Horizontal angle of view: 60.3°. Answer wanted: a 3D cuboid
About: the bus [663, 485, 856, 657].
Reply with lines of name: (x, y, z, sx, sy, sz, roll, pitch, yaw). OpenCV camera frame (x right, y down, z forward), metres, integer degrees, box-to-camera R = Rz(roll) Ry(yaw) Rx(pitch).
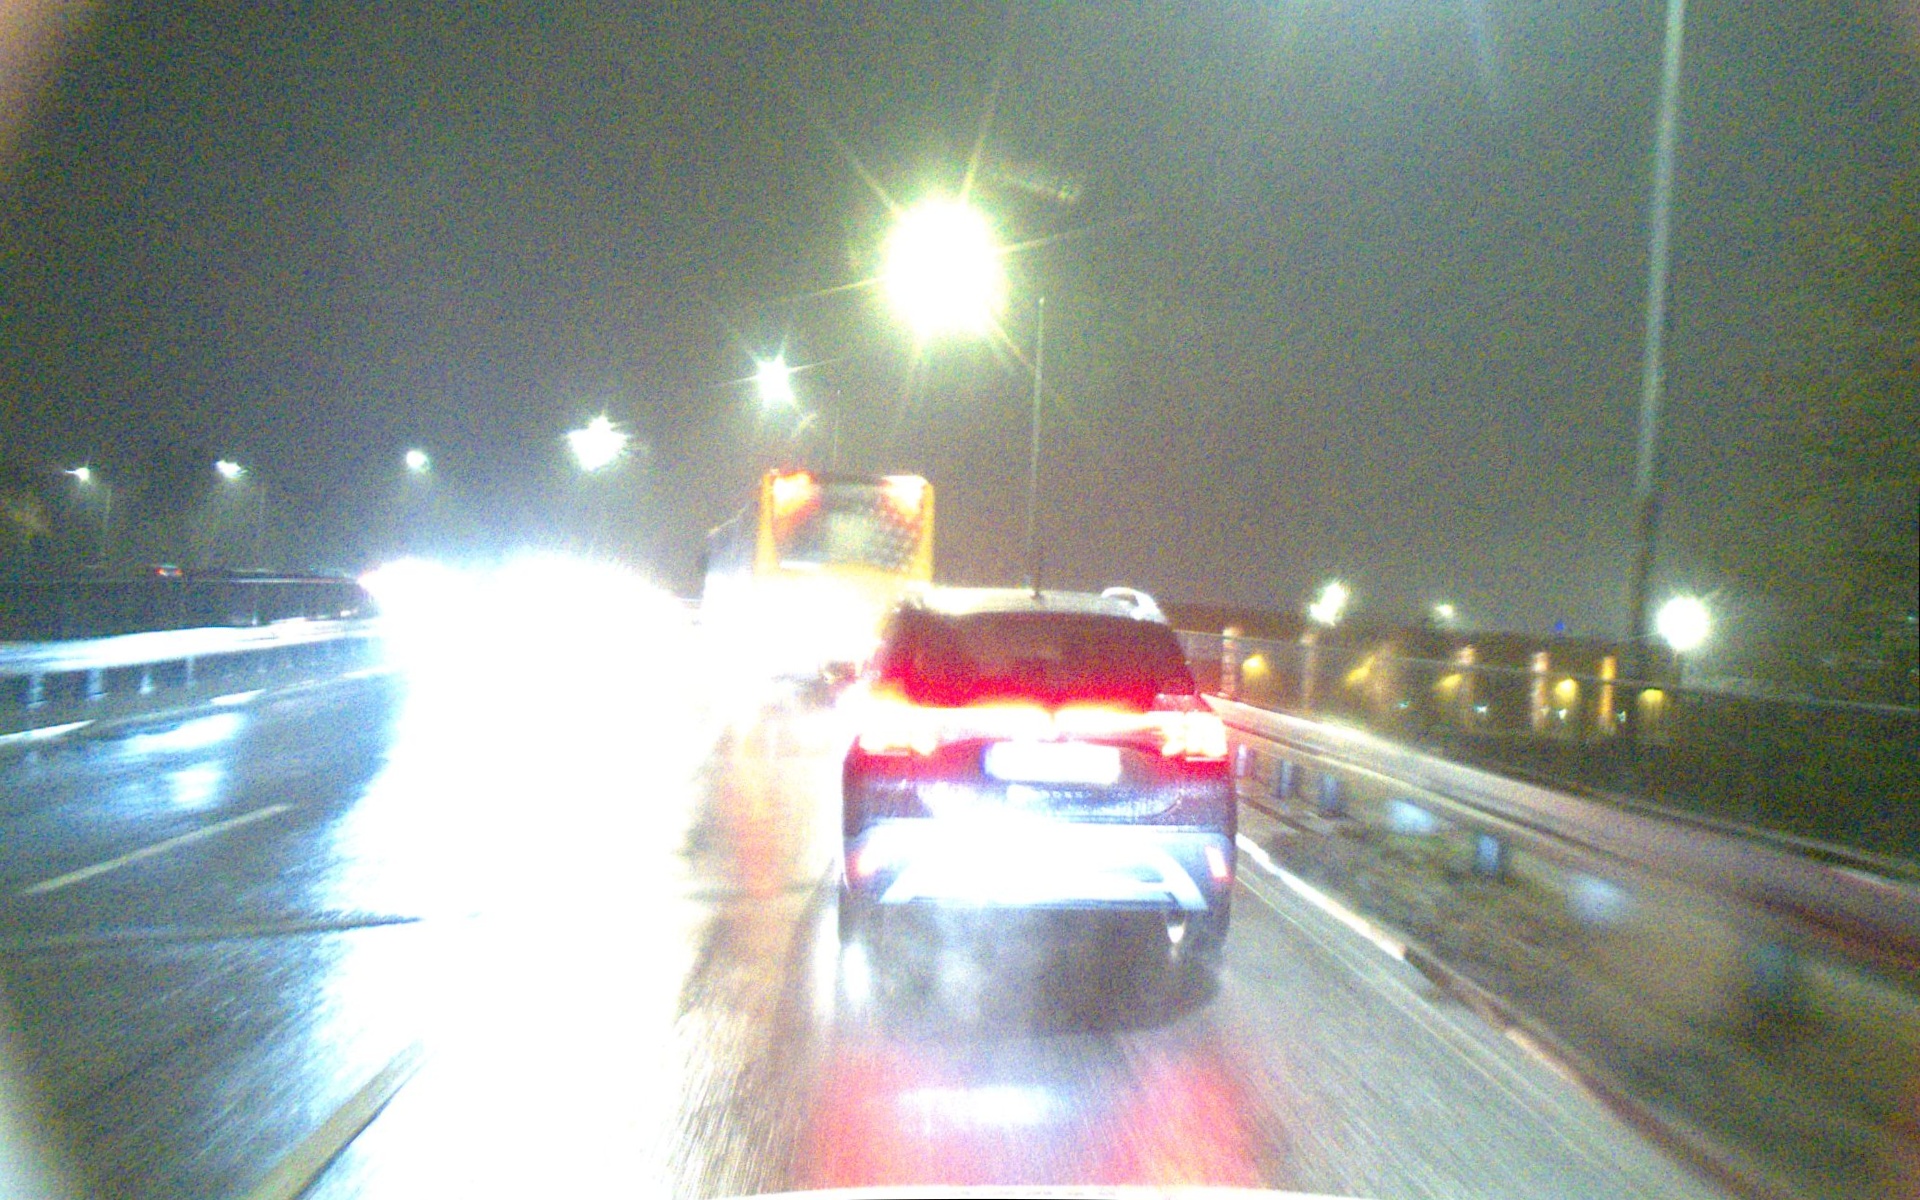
bus: (-4.881, -0.621, 38.598, 3.000, 3.184, 8.046, 8, -2, -15)

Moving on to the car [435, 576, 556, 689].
car: (-7.284, 0.466, 26.150, 1.444, 1.612, 3.184, 1, 1, -9)

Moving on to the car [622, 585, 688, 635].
car: (-10.728, 0.353, 58.003, 1.613, 1.684, 3.686, -1, 0, -21)

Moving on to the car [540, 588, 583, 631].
car: (-17.516, 0.417, 72.568, 1.288, 1.687, 3.173, 9, -3, -20)

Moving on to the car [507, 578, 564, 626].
car: (-13.686, 0.056, 53.495, 1.654, 1.415, 4.435, 3, -1, -13)

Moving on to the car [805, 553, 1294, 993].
car: (0.215, 0.681, 8.345, 1.819, 1.614, 3.996, 3, 0, -4)

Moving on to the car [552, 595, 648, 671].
car: (-7.614, 0.662, 35.243, 1.861, 1.464, 4.052, 1, 0, -11)

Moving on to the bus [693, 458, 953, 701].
bus: (-2.826, -0.352, 28.504, 3.028, 3.187, 12.663, 1, 1, -11)
